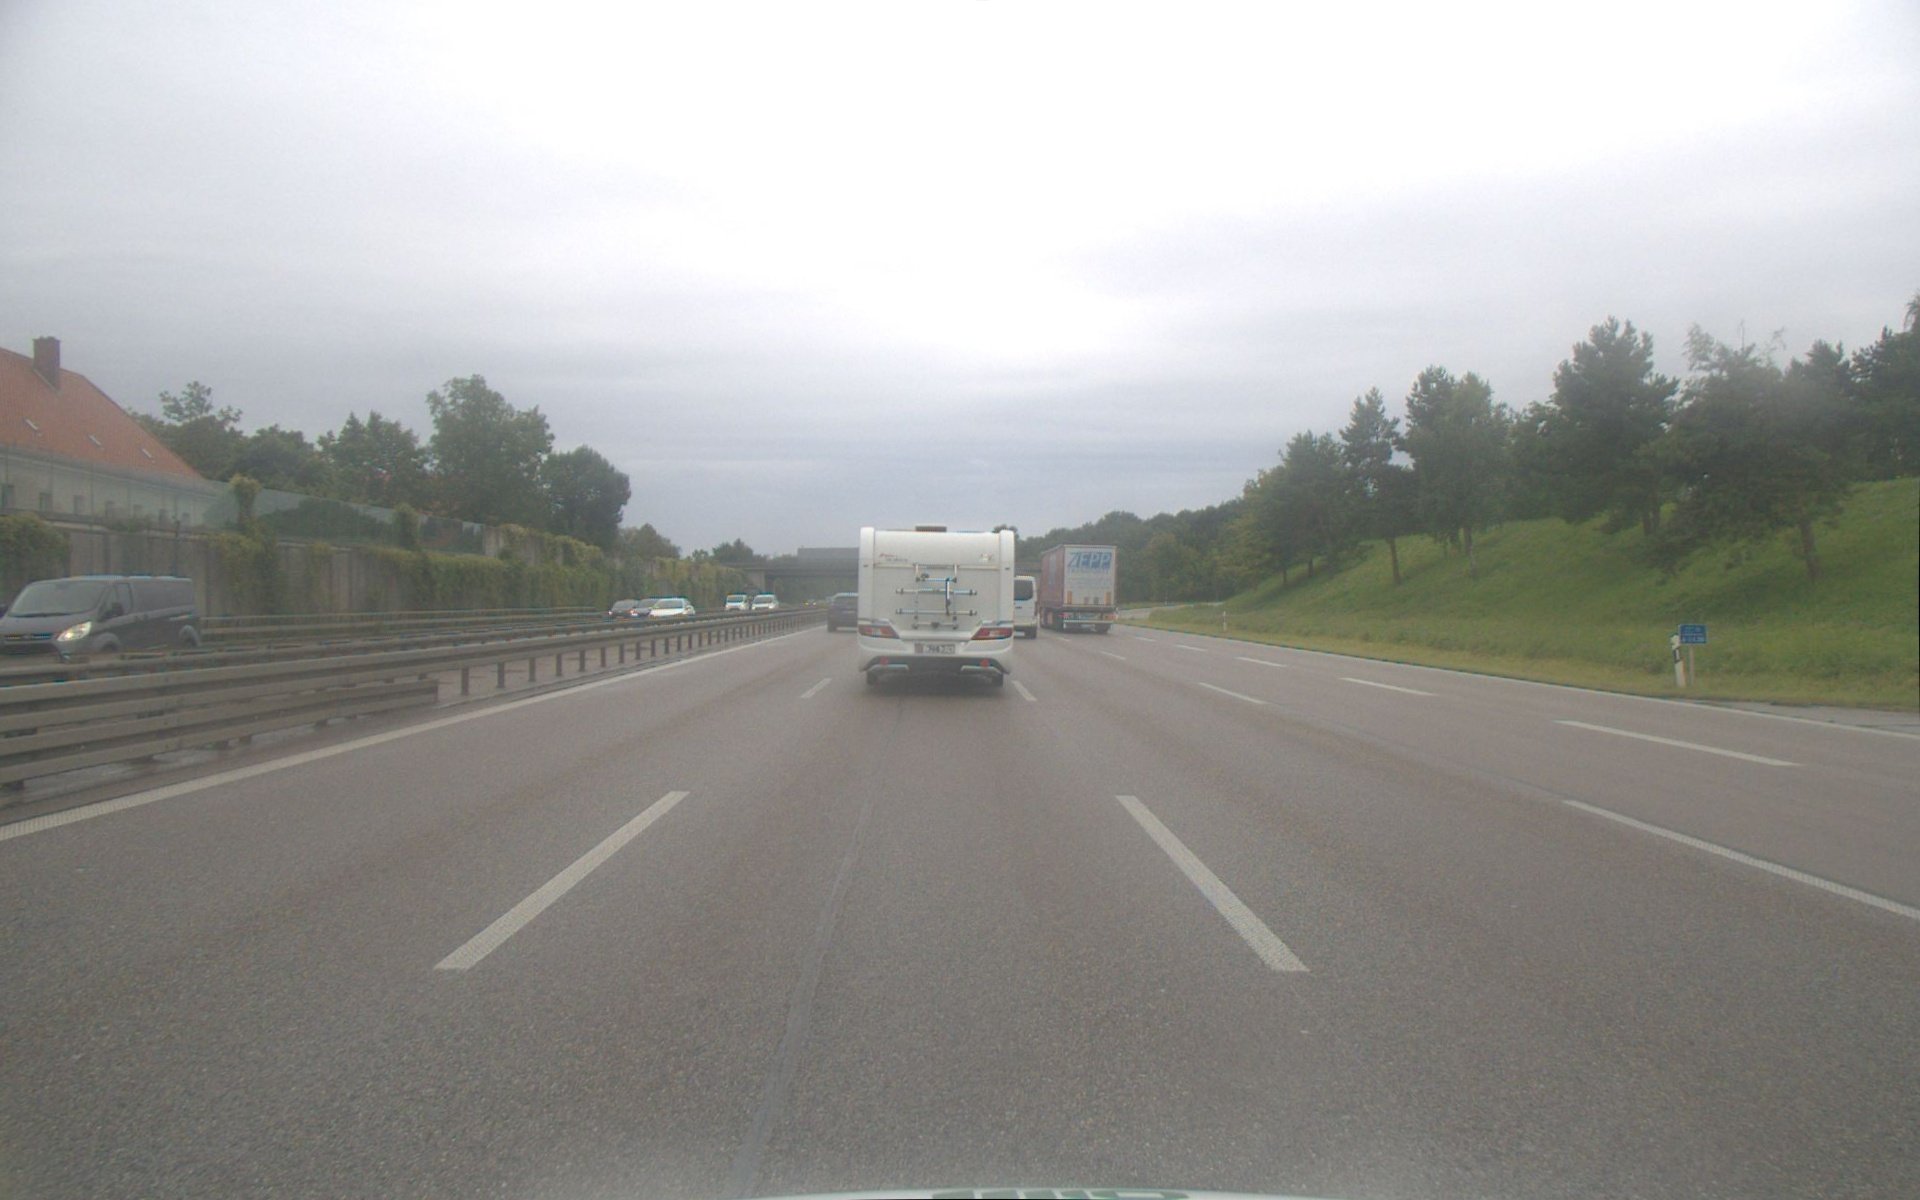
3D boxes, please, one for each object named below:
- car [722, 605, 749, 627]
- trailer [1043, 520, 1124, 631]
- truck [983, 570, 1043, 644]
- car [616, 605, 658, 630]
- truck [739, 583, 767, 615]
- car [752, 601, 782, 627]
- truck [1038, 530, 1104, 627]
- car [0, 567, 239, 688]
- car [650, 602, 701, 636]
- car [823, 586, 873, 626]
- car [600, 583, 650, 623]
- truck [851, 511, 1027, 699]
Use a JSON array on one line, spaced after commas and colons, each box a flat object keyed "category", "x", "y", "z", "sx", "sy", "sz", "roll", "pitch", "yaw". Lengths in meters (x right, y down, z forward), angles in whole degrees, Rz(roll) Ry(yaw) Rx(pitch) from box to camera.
[{"category": "car", "x": -21.648, "y": 1.498, "z": 159.481, "sx": 1.953, "sy": 2.049, "sz": 4.955, "roll": 1, "pitch": 0, "yaw": -1}, {"category": "trailer", "x": 5.923, "y": -1.096, "z": 81.193, "sx": 3.036, "sy": 5.008, "sz": 11.789, "roll": 1, "pitch": 0, "yaw": 0}, {"category": "truck", "x": 2.071, "y": 0.277, "z": 66.177, "sx": 2.012, "sy": 2.818, "sz": 5.547, "roll": 1, "pitch": 0, "yaw": -1}, {"category": "car", "x": -21.748, "y": 1.176, "z": 111.535, "sx": 1.915, "sy": 1.579, "sz": 4.521, "roll": 1, "pitch": 0, "yaw": 0}, {"category": "truck", "x": -25.473, "y": -0.083, "z": 203.769, "sx": 2.637, "sy": 3.843, "sz": 8.333, "roll": 1, "pitch": 0, "yaw": -2}, {"category": "car", "x": -14.068, "y": 1.014, "z": 120.792, "sx": 1.751, "sy": 1.782, "sz": 4.534, "roll": 1, "pitch": 0, "yaw": -2}, {"category": "truck", "x": 5.875, "y": -1.113, "z": 88.283, "sx": 2.986, "sy": 4.924, "sz": 5.849, "roll": 1, "pitch": 0, "yaw": -1}, {"category": "car", "x": -15.974, "y": 0.465, "z": 31.021, "sx": 2.164, "sy": 2.006, "sz": 6.269, "roll": 1, "pitch": 0, "yaw": -1}, {"category": "car", "x": -13.344, "y": 0.883, "z": 77.824, "sx": 1.569, "sy": 1.431, "sz": 4.763, "roll": -4, "pitch": 0, "yaw": -1}, {"category": "car", "x": -4.857, "y": 0.272, "z": 72.283, "sx": 1.953, "sy": 1.628, "sz": 5.122, "roll": 1, "pitch": 0, "yaw": -1}, {"category": "car", "x": -17.744, "y": 0.147, "z": 87.758, "sx": 1.894, "sy": 2.049, "sz": 4.730, "roll": 0, "pitch": 0, "yaw": -2}, {"category": "truck", "x": -0.370, "y": 0.087, "z": 27.588, "sx": 2.607, "sy": 2.790, "sz": 5.076, "roll": 1, "pitch": 0, "yaw": -1}]
